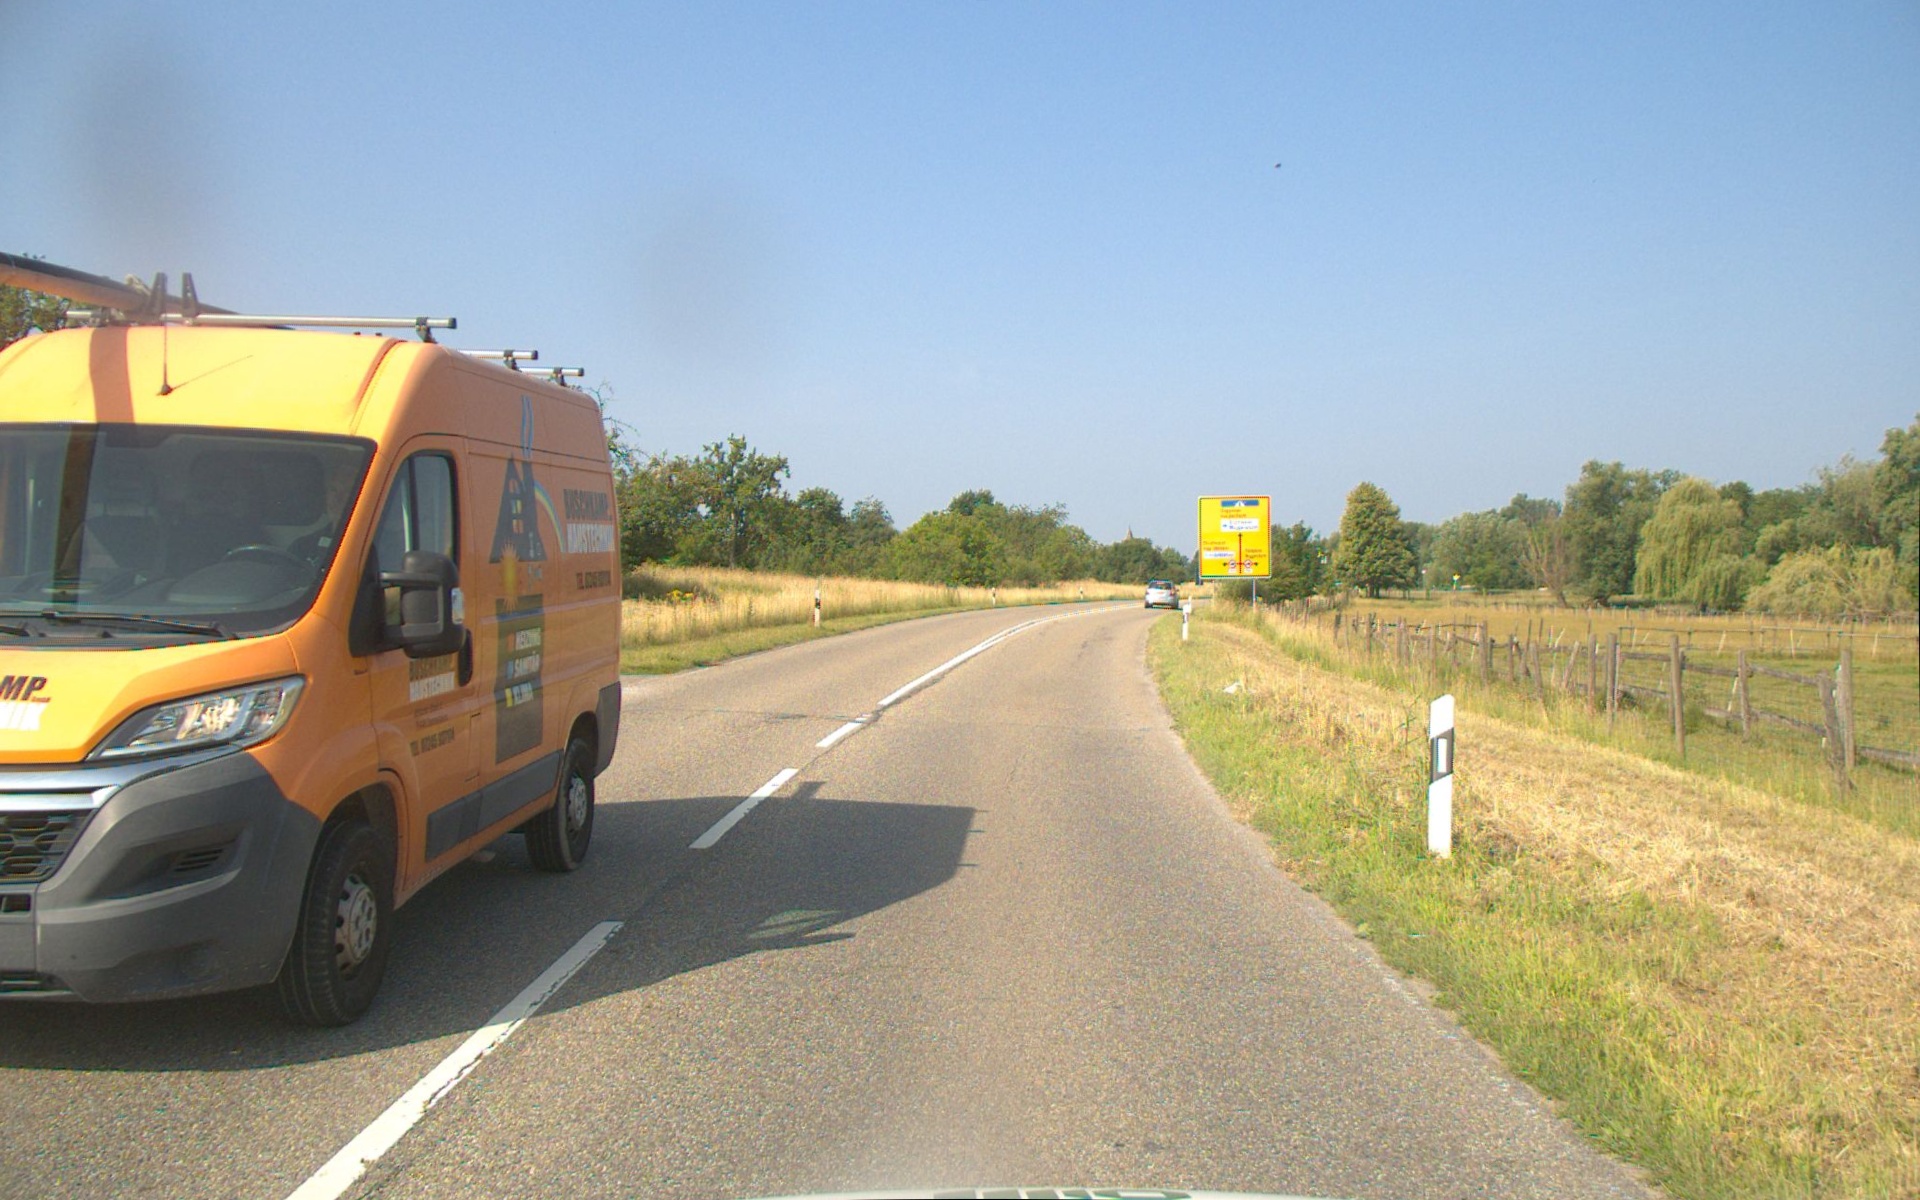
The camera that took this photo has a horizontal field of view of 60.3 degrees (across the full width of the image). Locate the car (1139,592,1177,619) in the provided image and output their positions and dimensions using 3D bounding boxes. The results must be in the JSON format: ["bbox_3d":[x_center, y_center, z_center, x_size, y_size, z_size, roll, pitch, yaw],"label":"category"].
[{"bbox_3d":[11.752,0.326,97.918,1.858,1.538,4.003,2,0,12],"label":"car"}]

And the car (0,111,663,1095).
[{"bbox_3d":[-2.918,-0.023,7.290,2.080,2.743,5.269,1,0,1],"label":"car"}]
